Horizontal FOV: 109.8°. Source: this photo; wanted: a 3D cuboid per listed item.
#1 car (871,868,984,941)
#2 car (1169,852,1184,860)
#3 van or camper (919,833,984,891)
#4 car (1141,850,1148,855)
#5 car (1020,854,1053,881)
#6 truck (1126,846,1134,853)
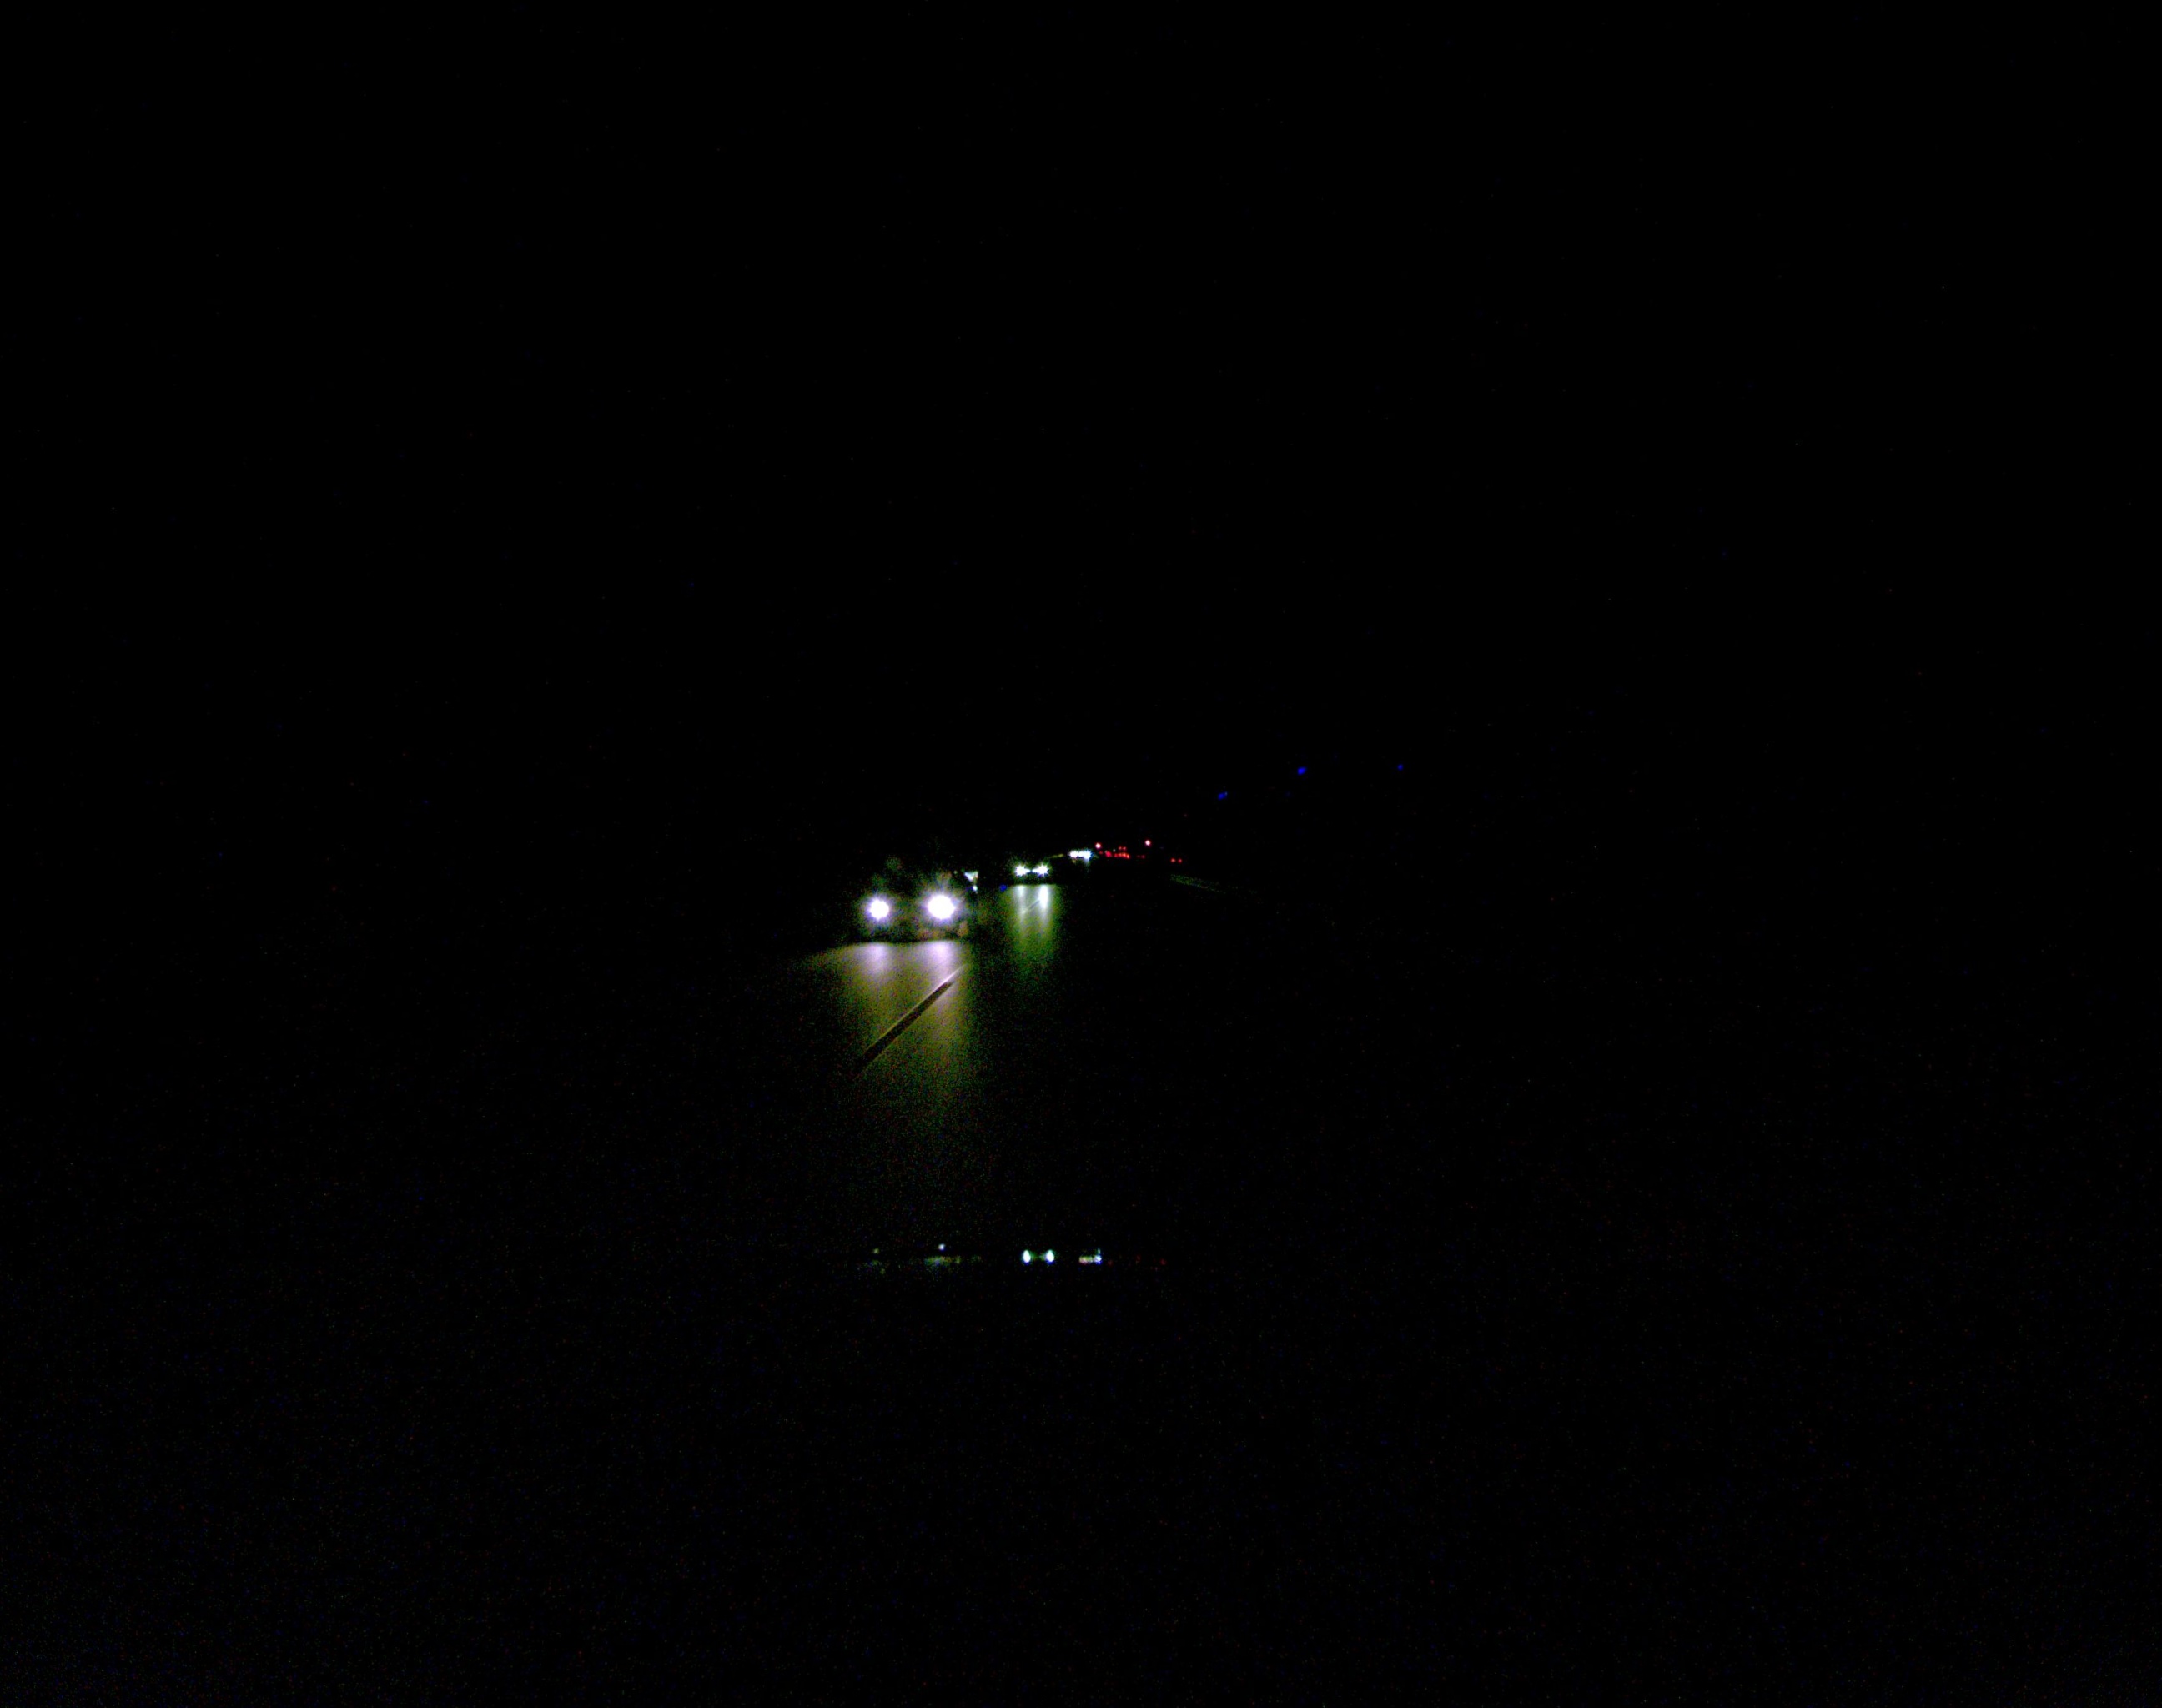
[{"bbox_3d":[-3.348,1.042,17.336,1.690,1.405,4.225,0,0,0],"label":"car"},{"bbox_3d":[17.764,0.315,141.828,1.999,1.495,5.200,1,0,-1],"label":"car"},{"bbox_3d":[-6.674,0.367,40.063,2.213,2.755,6.803,-2,0,-1],"label":"van or camper"},{"bbox_3d":[19.816,-0.385,237.560,1.998,1.476,4.800,0,0,0],"label":"car"},{"bbox_3d":[-2.762,0.832,48.108,1.795,1.532,4.225,-2,0,0],"label":"car"},{"bbox_3d":[14.496,-1.316,224.097,1.998,1.931,5.240,0,1,1],"label":"truck"}]
